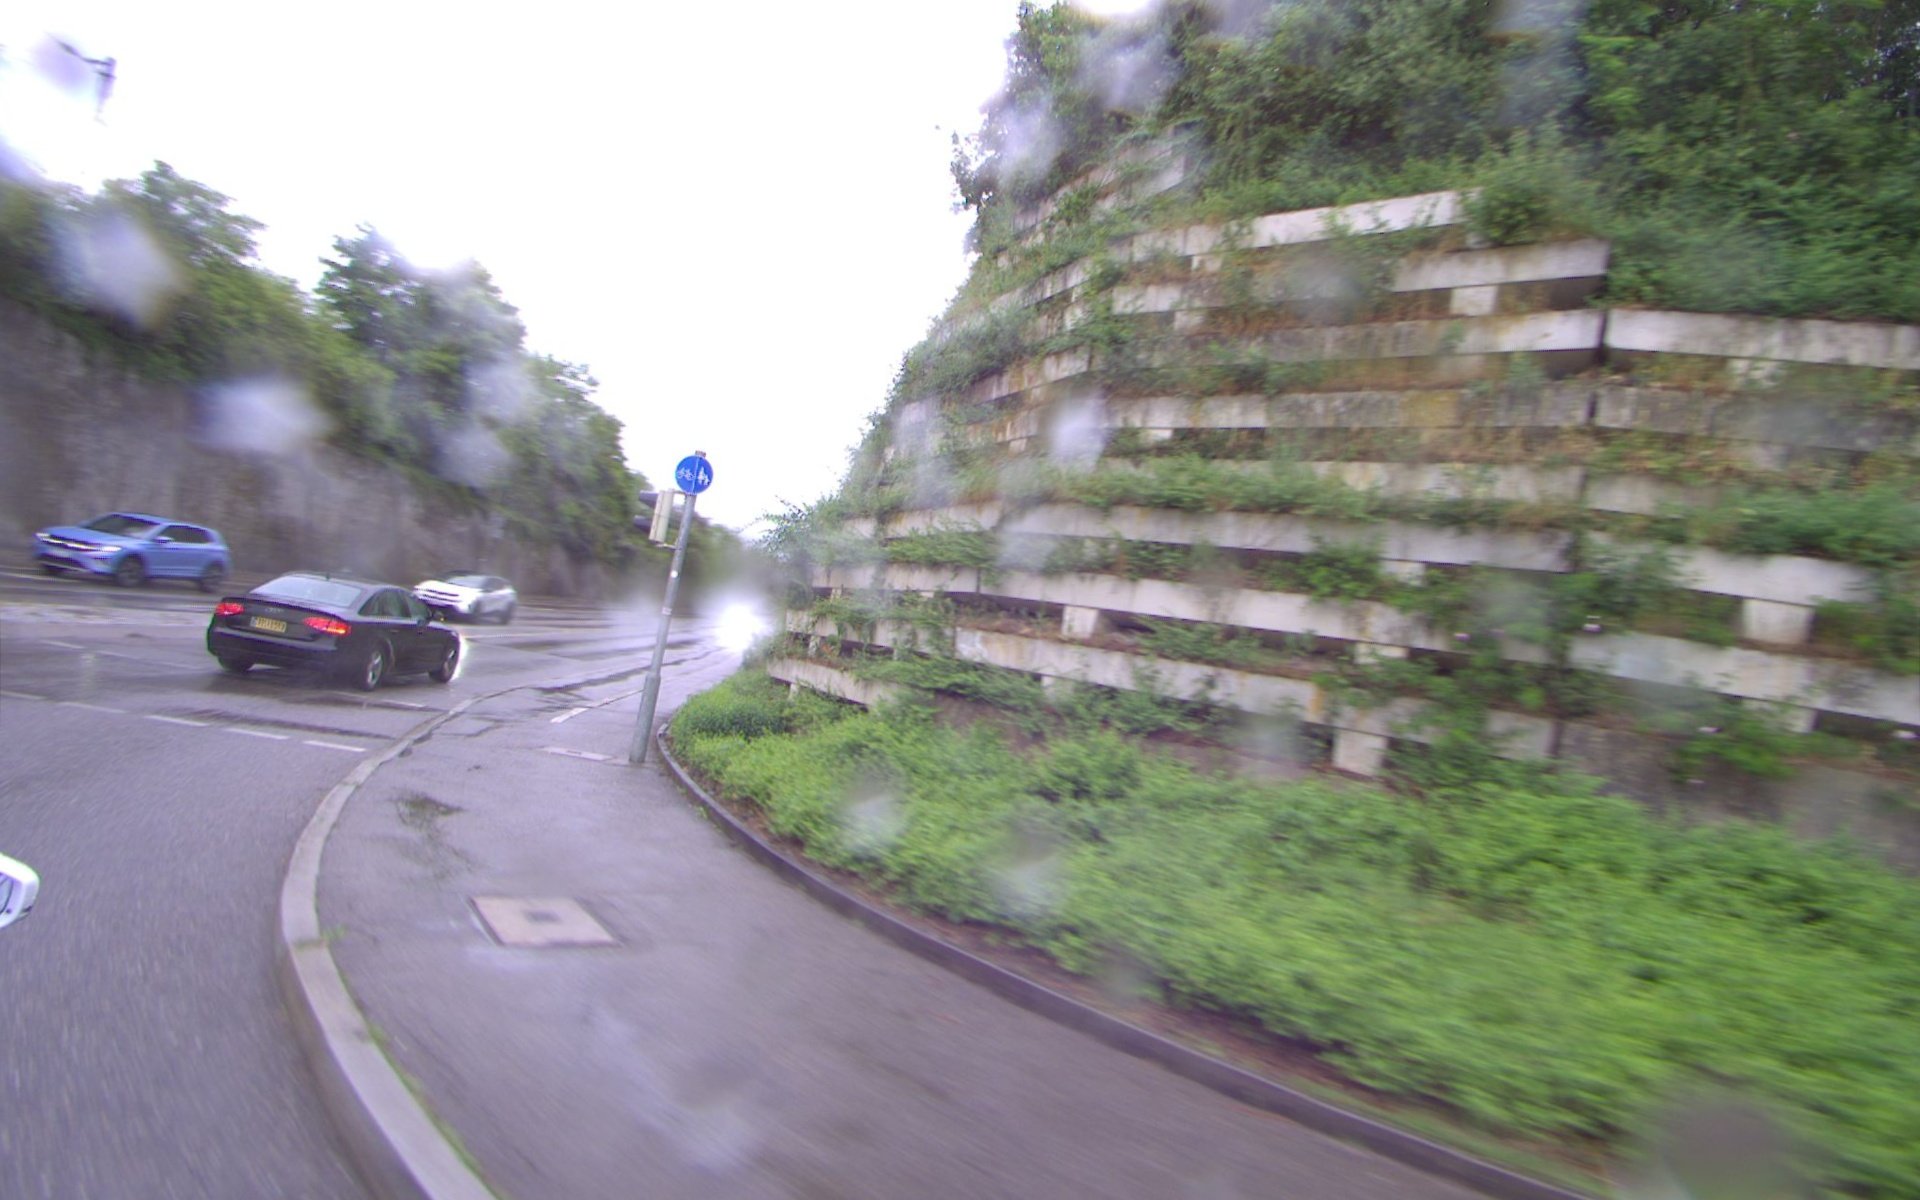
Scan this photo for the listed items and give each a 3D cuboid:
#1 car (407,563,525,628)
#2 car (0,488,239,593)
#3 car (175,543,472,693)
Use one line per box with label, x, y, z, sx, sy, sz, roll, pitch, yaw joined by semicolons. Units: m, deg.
car;-15.688;-0.080;32.179;1.842;1.619;4.001;8;-3;-4
car;-18.618;-1.225;22.582;1.788;1.675;4.054;8;-3;-1
car;-8.509;0.273;13.977;1.868;1.508;4.202;9;-3;-10
